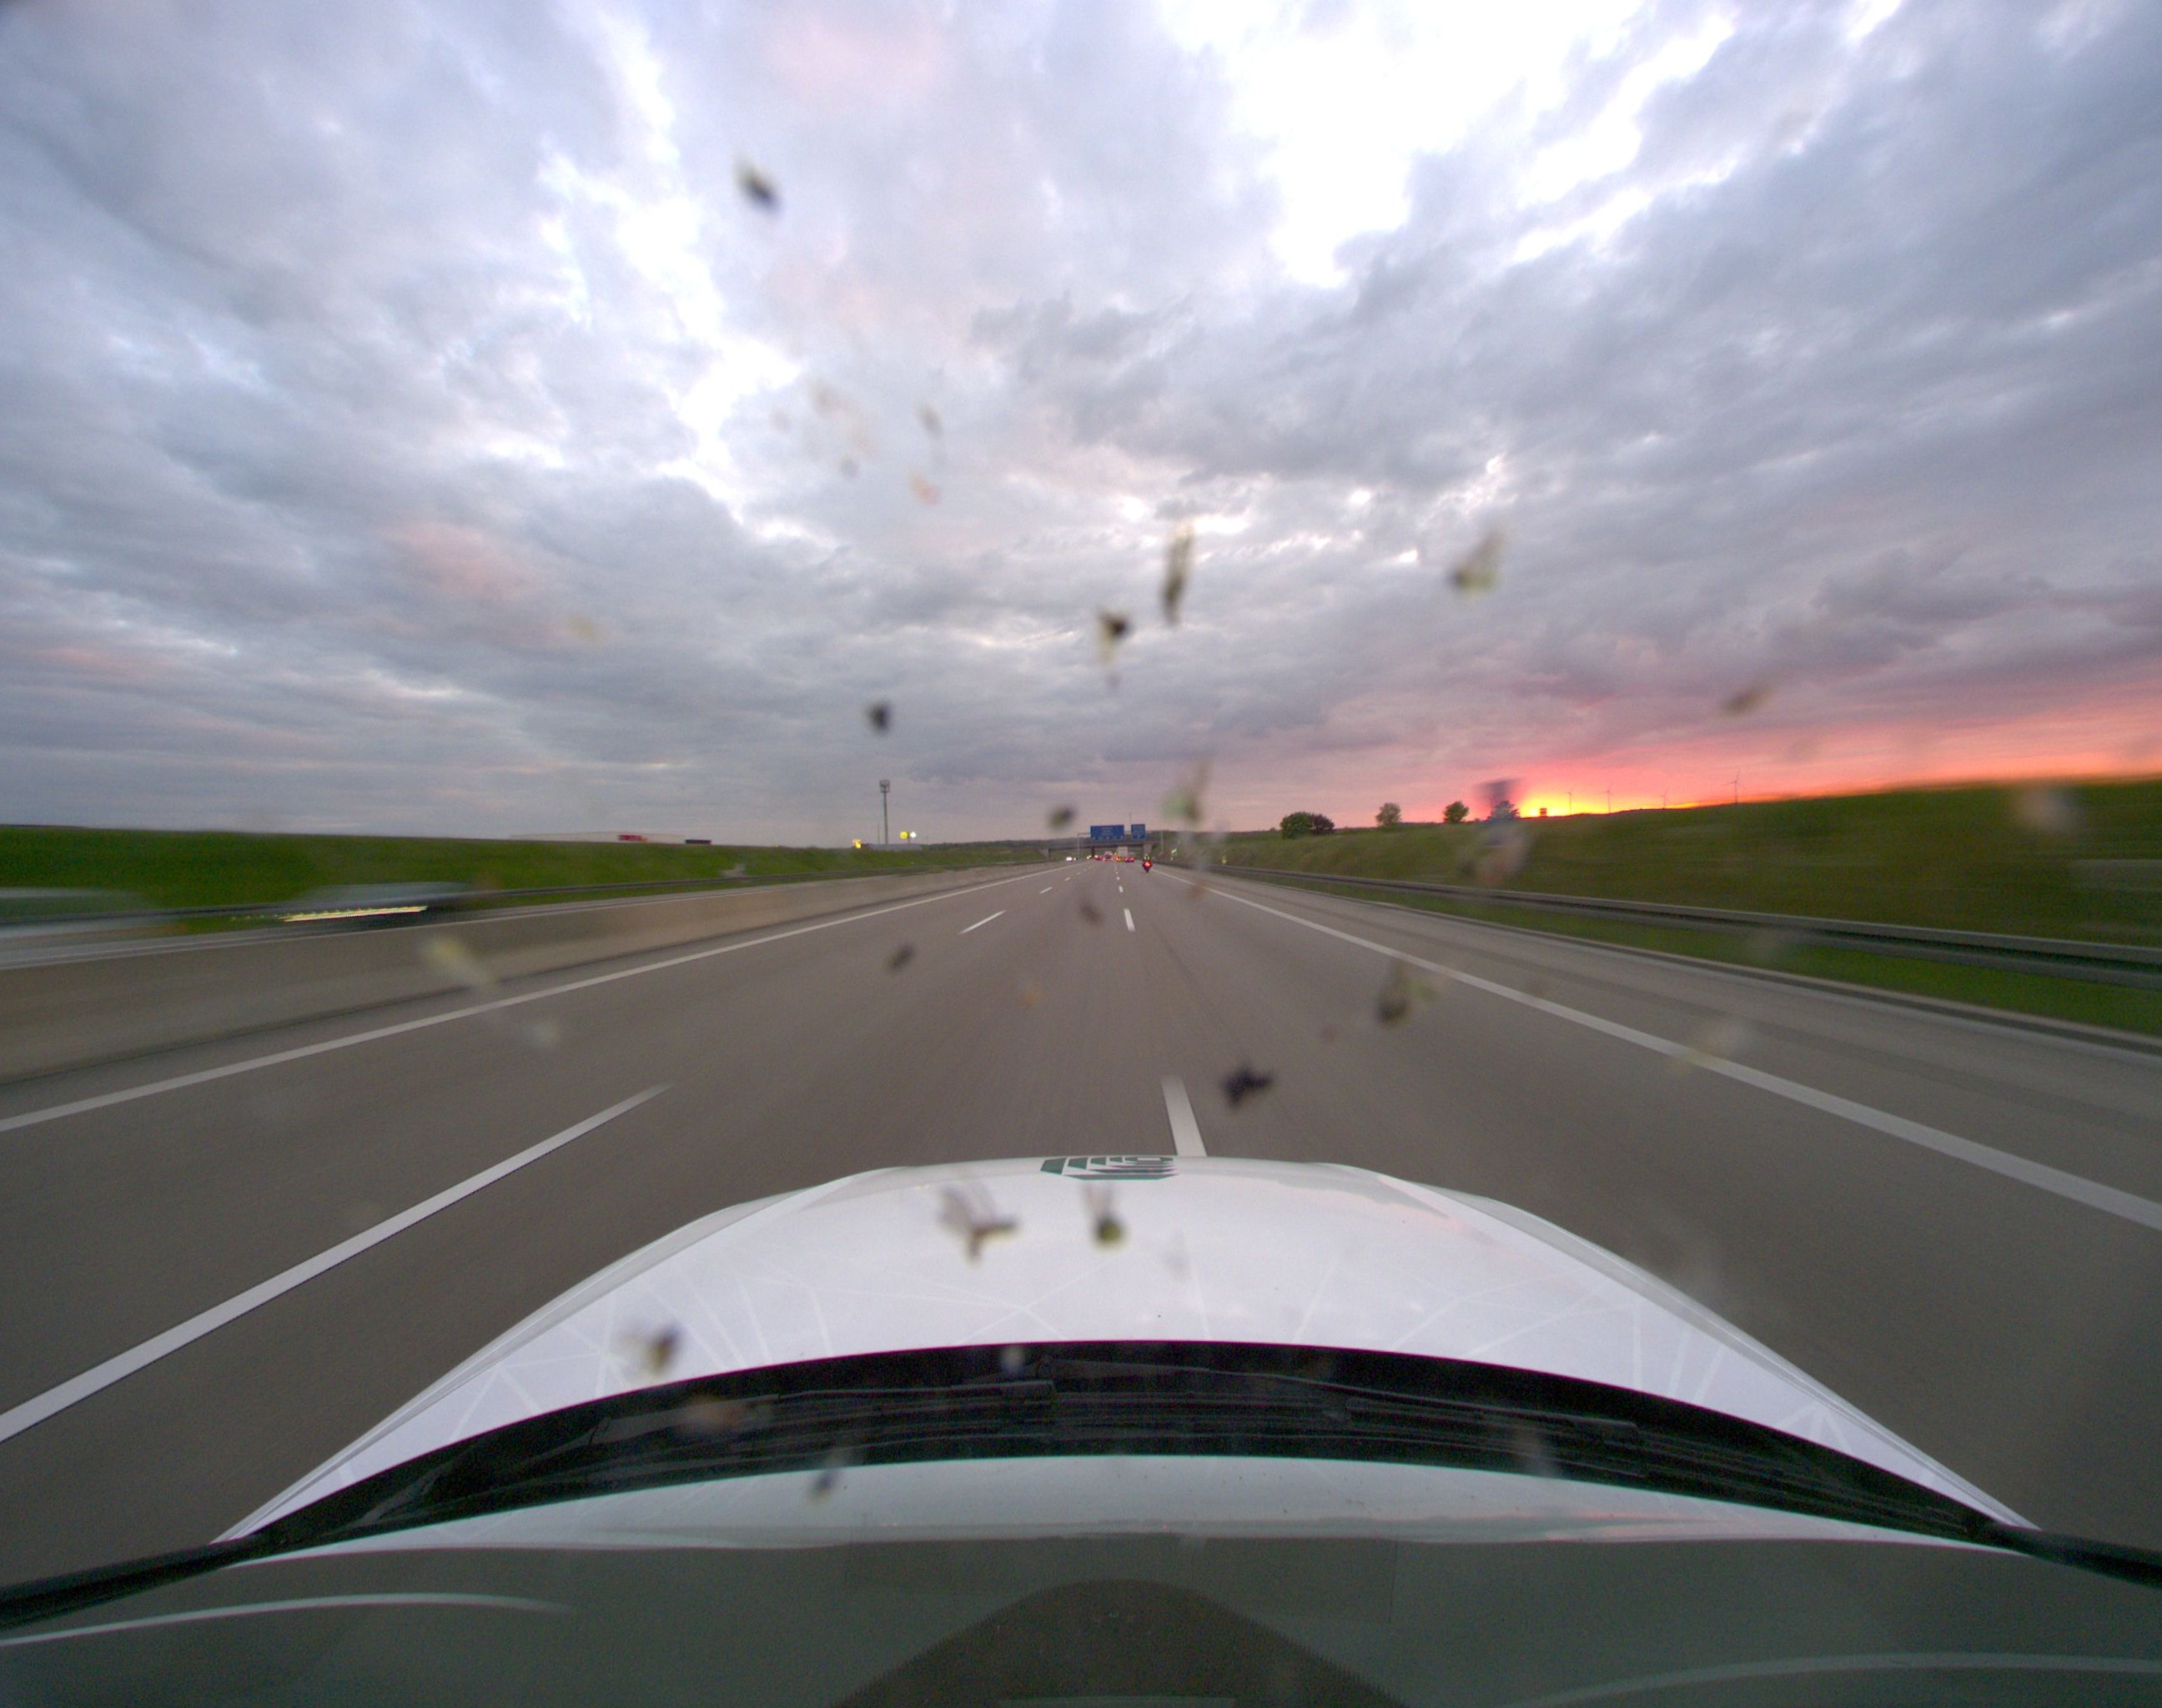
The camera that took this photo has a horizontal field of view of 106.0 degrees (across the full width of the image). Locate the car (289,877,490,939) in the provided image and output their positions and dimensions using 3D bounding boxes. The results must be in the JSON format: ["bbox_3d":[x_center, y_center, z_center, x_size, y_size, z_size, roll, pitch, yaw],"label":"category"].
[{"bbox_3d":[-18.837,1.416,22.510,1.732,1.392,4.344,-1,0,1],"label":"car"}]

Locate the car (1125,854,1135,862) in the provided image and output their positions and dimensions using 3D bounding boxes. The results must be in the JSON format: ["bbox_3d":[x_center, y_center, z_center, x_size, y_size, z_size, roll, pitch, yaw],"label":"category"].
[{"bbox_3d":[10.575,0.877,176.636,1.911,1.579,4.001,-1,0,1],"label":"car"}]

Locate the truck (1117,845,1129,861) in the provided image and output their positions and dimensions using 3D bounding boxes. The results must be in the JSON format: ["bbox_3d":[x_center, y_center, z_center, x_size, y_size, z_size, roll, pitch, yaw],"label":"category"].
[{"bbox_3d":[11.283,-0.275,219.119,3.221,4.227,9.605,0,0,3],"label":"truck"}]

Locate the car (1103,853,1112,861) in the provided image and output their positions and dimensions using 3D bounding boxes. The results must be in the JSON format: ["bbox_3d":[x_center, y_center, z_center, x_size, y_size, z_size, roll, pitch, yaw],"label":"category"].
[{"bbox_3d":[8.438,0.973,259.145,2.507,2.391,6.498,-2,0,1],"label":"car"}]

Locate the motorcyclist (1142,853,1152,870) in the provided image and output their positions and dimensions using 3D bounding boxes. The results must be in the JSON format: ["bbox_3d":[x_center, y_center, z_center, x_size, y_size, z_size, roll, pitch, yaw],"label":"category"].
[{"bbox_3d":[5.929,0.653,73.685,0.862,1.487,1.169,0,0,2],"label":"motorcyclist"}]

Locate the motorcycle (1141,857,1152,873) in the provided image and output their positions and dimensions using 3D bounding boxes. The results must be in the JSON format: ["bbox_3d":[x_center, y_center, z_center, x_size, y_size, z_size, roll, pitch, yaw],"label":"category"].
[{"bbox_3d":[5.950,0.975,73.854,0.898,1.346,2.350,-1,1,3],"label":"motorcycle"}]

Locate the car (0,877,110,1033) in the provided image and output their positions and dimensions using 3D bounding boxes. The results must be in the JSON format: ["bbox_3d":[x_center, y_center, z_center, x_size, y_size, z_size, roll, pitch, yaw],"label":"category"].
[{"bbox_3d":[-13.293,1.189,7.664,1.986,1.735,5.184,-1,0,1],"label":"car"}]
